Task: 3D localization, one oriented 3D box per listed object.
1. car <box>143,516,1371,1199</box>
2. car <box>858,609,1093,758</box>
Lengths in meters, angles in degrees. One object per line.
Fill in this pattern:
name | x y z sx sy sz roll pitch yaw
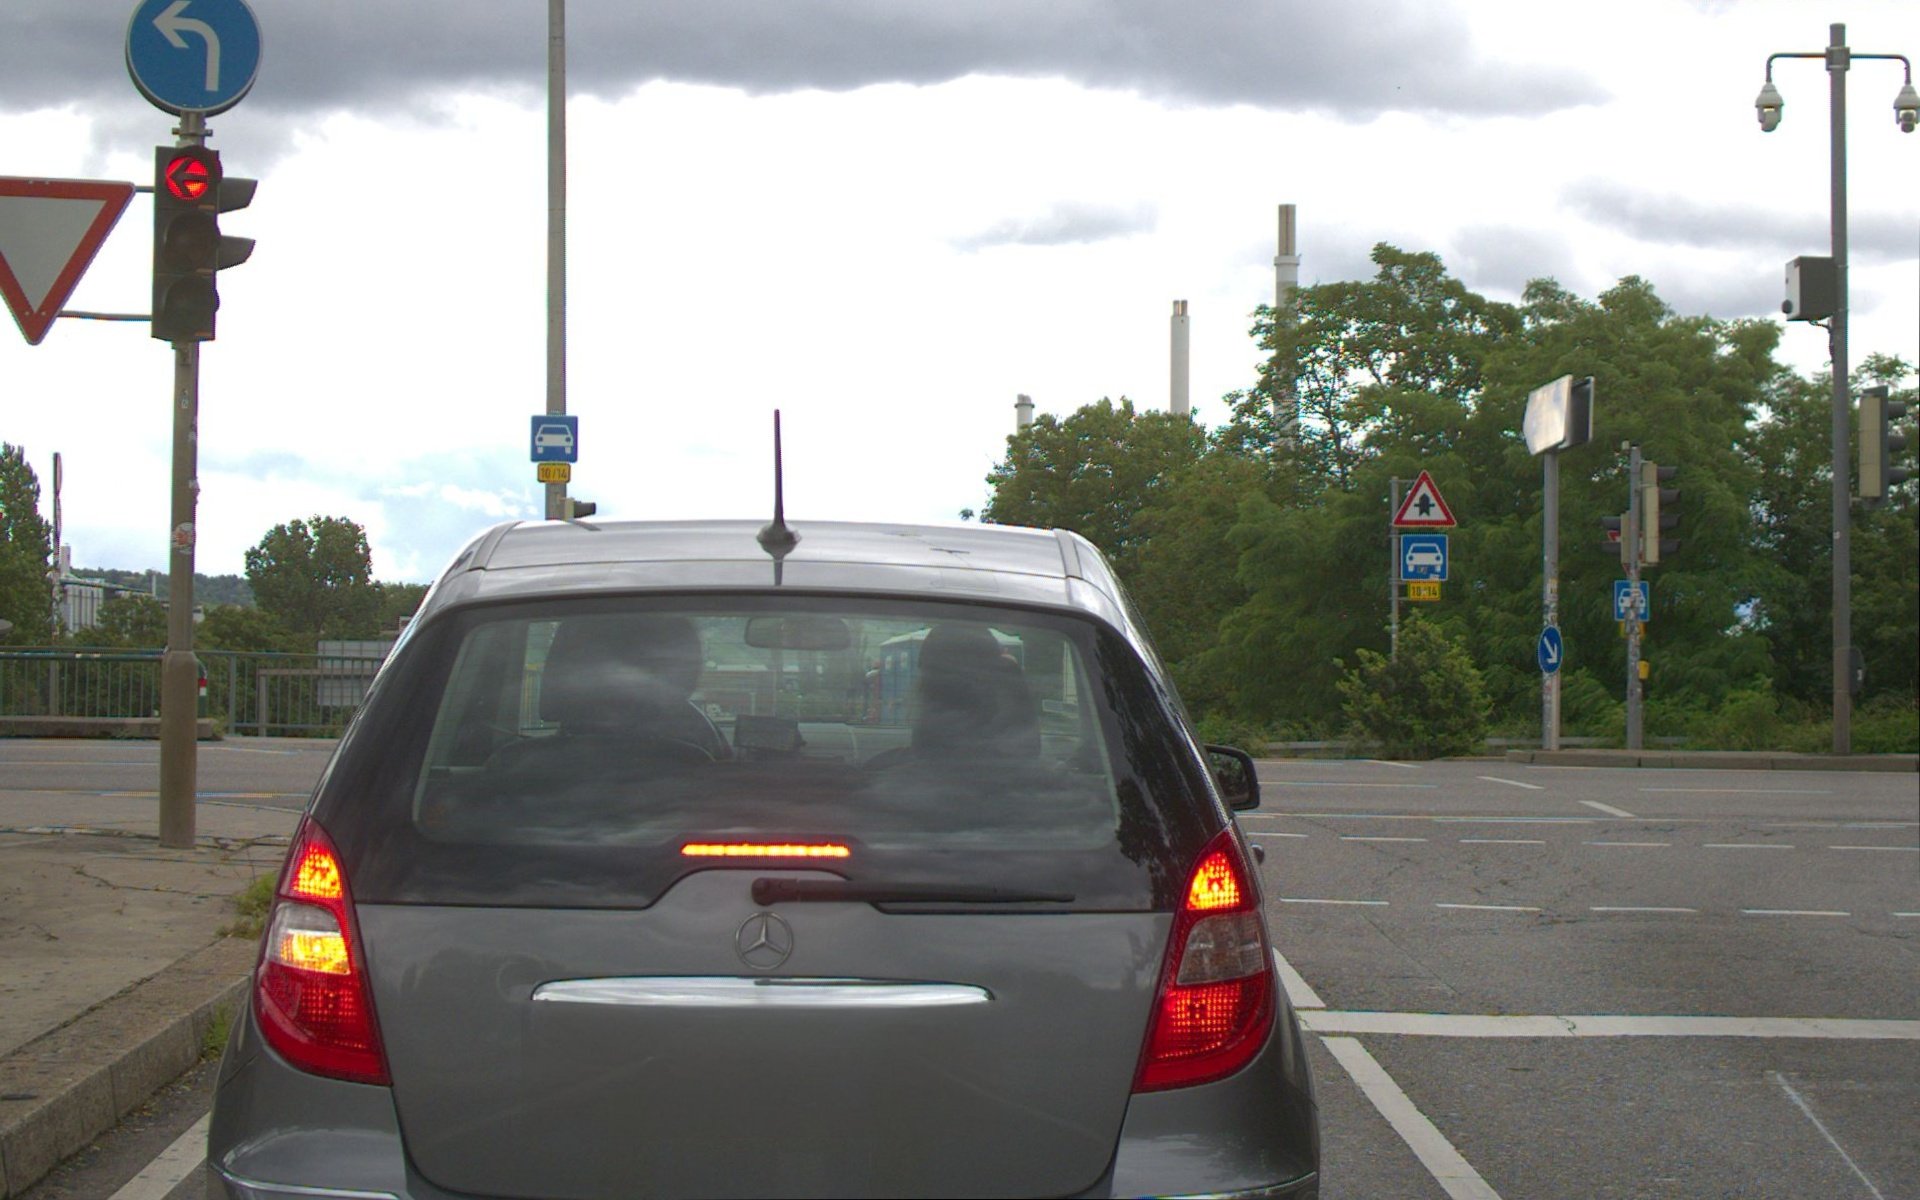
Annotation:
car | -0.308 0.642 6.680 1.739 1.538 3.541 1 1 0
car | 0.180 1.588 65.571 2.438 2.672 7.766 0 -1 -16
